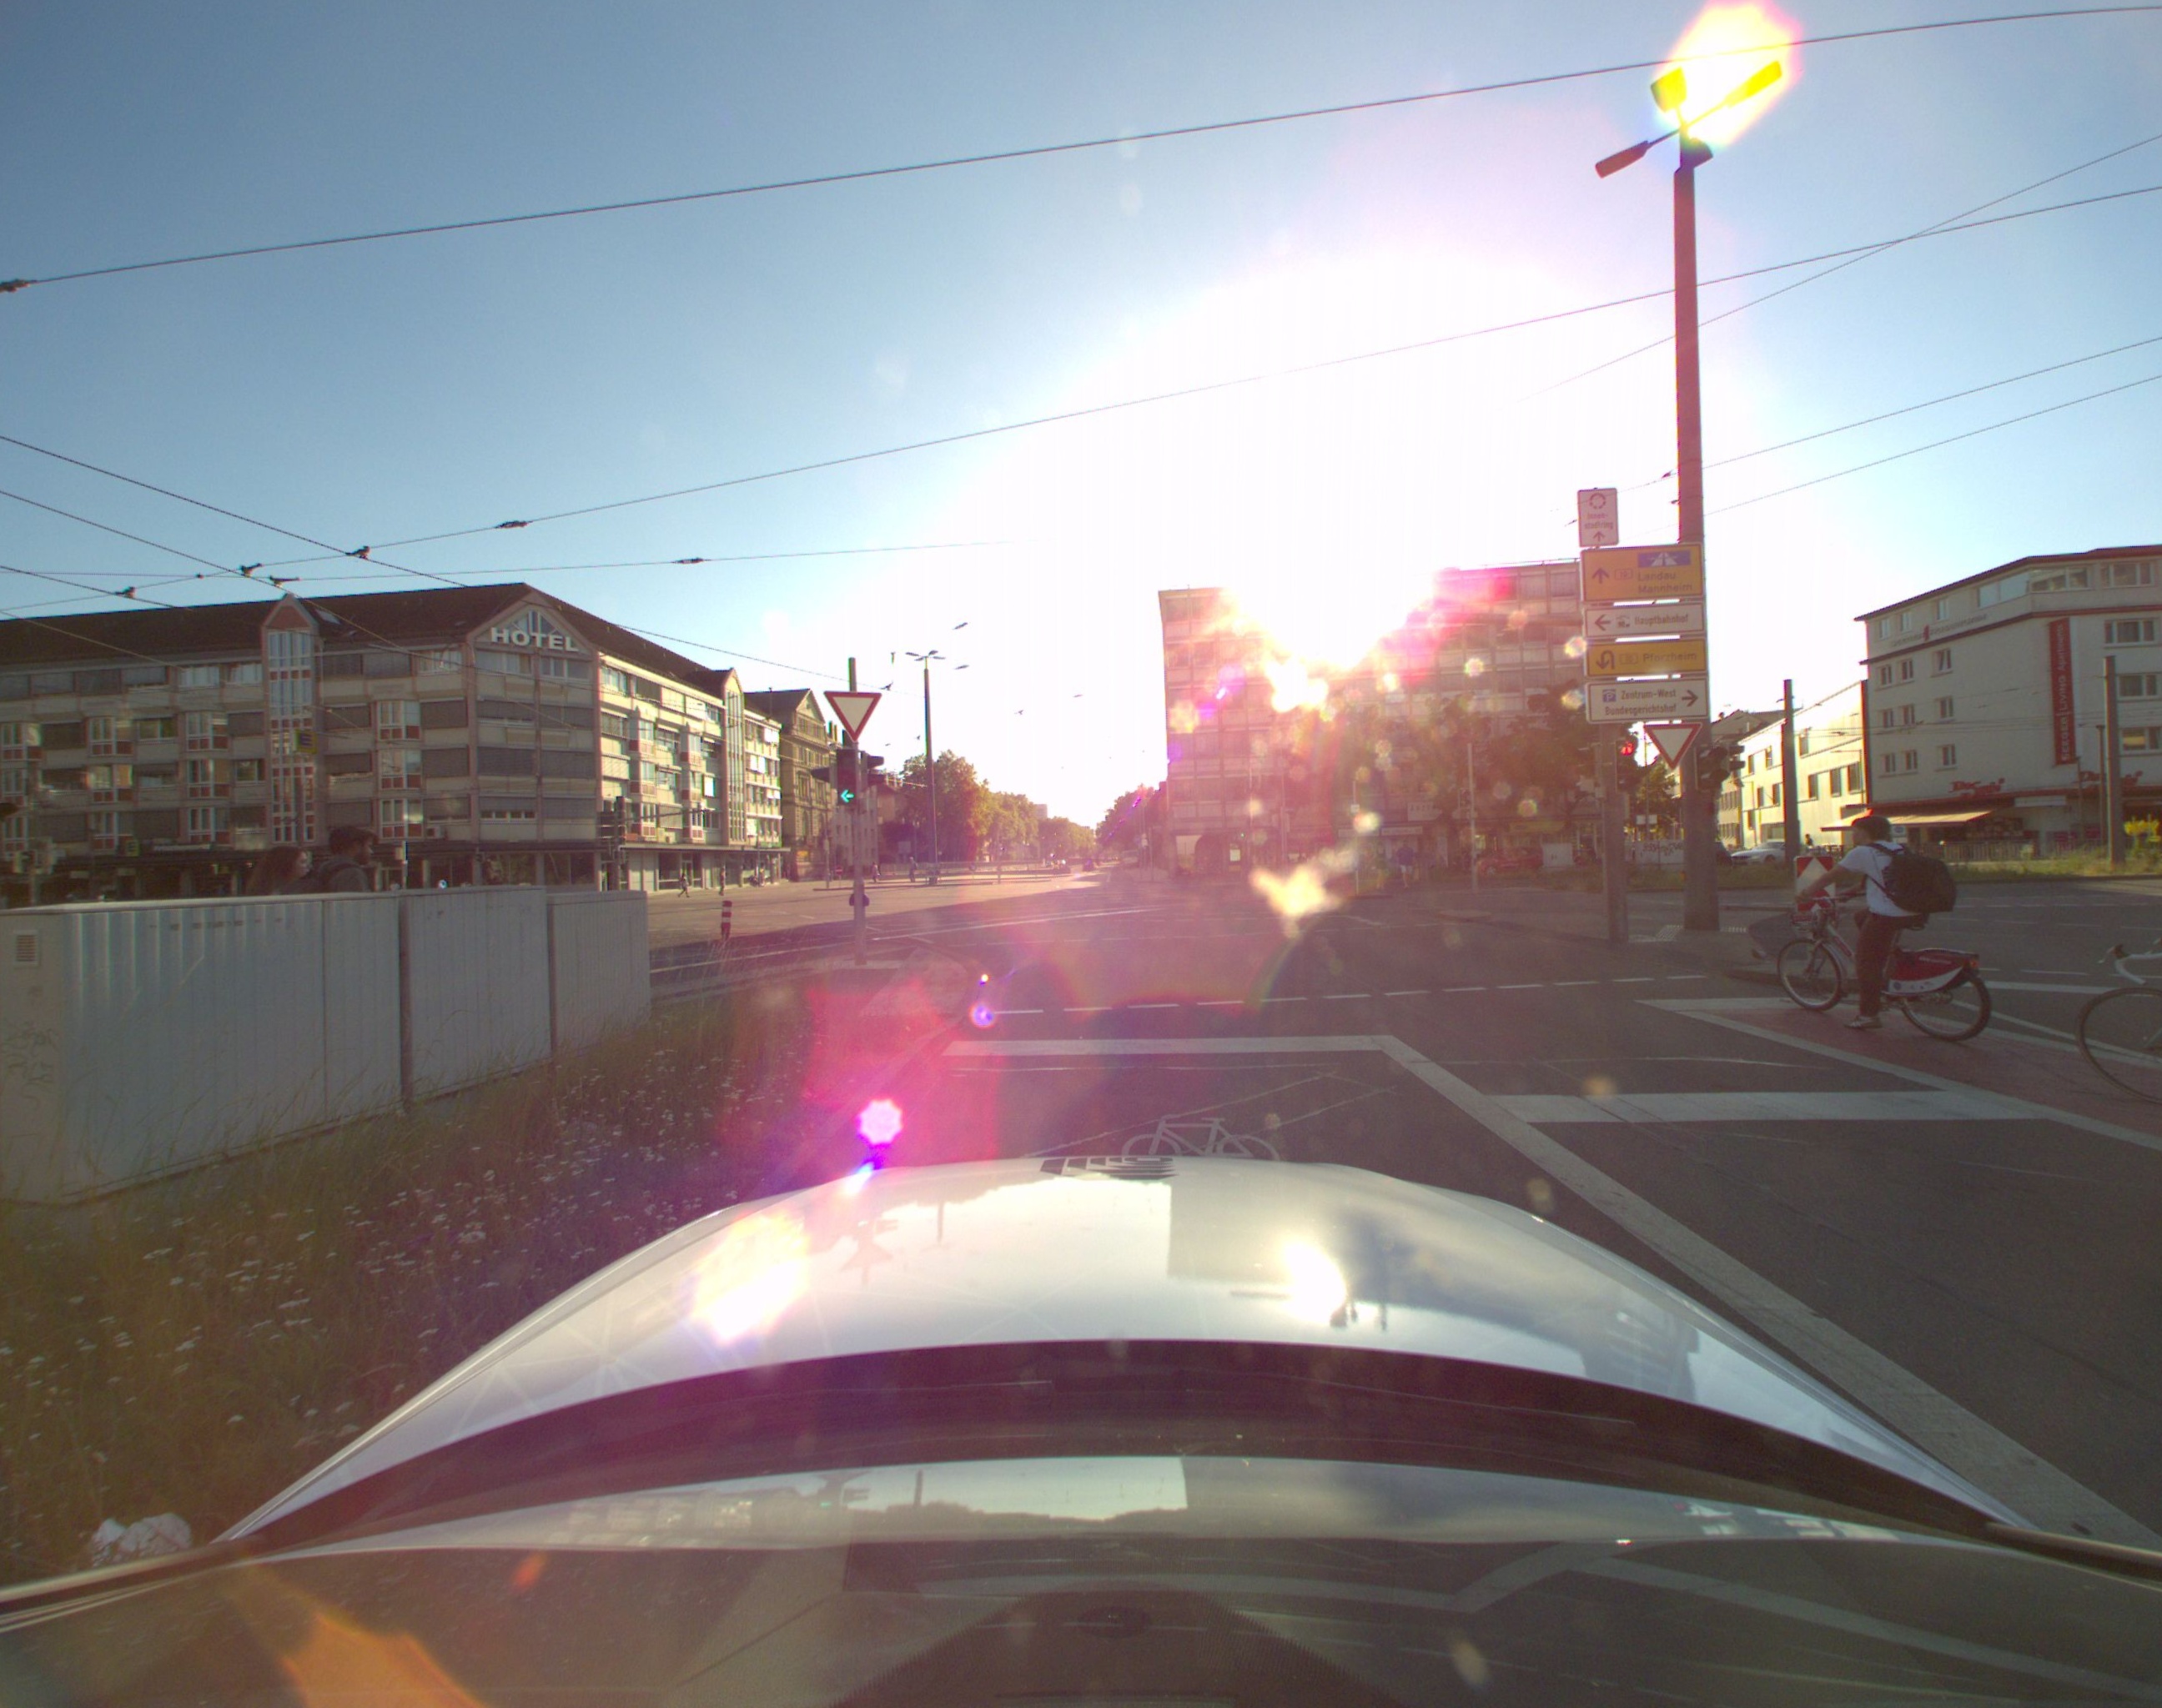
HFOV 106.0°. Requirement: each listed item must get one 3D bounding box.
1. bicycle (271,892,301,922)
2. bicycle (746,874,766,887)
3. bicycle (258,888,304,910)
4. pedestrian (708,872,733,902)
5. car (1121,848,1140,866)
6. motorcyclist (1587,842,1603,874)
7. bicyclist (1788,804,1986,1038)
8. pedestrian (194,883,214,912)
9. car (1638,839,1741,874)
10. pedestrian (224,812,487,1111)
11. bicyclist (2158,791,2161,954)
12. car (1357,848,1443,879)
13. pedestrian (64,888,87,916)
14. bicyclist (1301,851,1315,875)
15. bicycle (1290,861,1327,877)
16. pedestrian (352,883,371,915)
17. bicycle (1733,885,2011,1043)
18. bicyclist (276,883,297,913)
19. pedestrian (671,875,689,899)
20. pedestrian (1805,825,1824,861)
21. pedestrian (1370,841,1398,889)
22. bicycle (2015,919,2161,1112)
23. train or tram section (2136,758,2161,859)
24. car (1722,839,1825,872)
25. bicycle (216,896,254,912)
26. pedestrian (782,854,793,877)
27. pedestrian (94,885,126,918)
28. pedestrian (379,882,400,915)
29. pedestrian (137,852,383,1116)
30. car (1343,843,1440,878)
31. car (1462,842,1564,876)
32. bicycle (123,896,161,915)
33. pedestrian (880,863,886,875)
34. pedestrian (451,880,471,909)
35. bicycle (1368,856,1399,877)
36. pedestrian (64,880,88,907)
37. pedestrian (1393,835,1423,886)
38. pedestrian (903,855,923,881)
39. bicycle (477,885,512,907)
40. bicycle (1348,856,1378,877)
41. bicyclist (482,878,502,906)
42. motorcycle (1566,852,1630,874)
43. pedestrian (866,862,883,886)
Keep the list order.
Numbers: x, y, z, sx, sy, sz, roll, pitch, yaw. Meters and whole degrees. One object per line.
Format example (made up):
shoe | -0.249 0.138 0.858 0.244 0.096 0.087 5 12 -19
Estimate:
bicycle | -41.018 2.710 42.045 0.586 1.366 2.075 -1 1 -30
bicycle | -29.651 2.411 74.397 0.447 1.071 2.102 -1 -1 19
bicycle | -49.459 2.767 50.334 2.312 1.227 0.731 -2 -1 7
pedestrian | -23.629 2.145 53.457 1.191 1.883 0.856 0 4 -3
car | 6.318 0.386 103.956 2.275 2.172 4.838 0 -1 4
motorcyclist | 24.826 0.187 39.350 0.458 1.509 0.536 0 -1 7
bicyclist | 6.588 0.511 6.721 0.540 1.768 1.059 0 -1 -3
pedestrian | -56.225 2.786 52.209 0.598 1.852 0.613 -1 -1 12
car | 29.395 0.135 39.353 3.991 1.618 1.836 0 -1 -13
pedestrian | -4.768 0.638 5.433 0.780 1.800 0.903 0 5 10
bicyclist | 6.164 0.526 4.025 0.612 1.746 0.791 0 -1 -3
car | 17.313 0.515 44.344 4.046 1.618 1.847 0 -1 6
pedestrian | -64.761 3.071 52.437 0.671 1.778 0.825 -1 -1 32
bicyclist | 13.394 0.531 48.054 0.677 1.424 0.671 0 -1 1
bicycle | 13.433 0.893 48.052 2.017 0.940 0.671 0 -1 0
pedestrian | -39.427 2.438 44.631 0.625 1.694 0.859 0 -1 -30
bicycle | 6.568 0.847 6.917 0.540 1.101 1.807 0 -1 -3
bicyclist | -41.056 2.269 42.101 0.568 1.481 0.731 -1 1 -30
pedestrian | -24.801 2.063 50.404 0.703 1.453 0.855 0 -1 -3
pedestrian | 41.633 -0.635 46.242 0.619 2.014 0.719 -1 -1 27
pedestrian | 10.896 0.383 29.287 0.692 1.682 1.044 0 -1 6
bicycle | 6.189 0.906 4.290 0.540 1.001 1.692 0 -1 -3
train or tram section | 47.451 -1.961 29.292 13.257 3.833 3.719 -2 -1 4
car | 34.540 0.080 40.640 3.988 1.618 1.837 0 -1 -11
bicycle | -52.458 3.111 50.508 2.060 0.917 0.502 -2 -1 7
pedestrian | -31.181 1.253 86.543 0.926 2.398 0.958 0 -1 -9
pedestrian | -50.631 2.479 42.478 0.680 1.660 0.780 0 -1 -4
pedestrian | -38.299 2.434 45.126 0.510 1.764 0.999 0 -1 -18
pedestrian | -5.586 0.812 5.595 0.780 1.640 0.903 -1 -1 14
car | 14.739 0.319 38.842 3.966 1.618 1.847 0 -1 6
car | 20.934 0.251 39.611 3.966 1.618 1.847 0 -1 6
bicycle | -60.180 3.285 52.215 0.481 1.119 1.650 0 -1 2
pedestrian | -27.182 2.085 111.736 0.693 1.695 0.724 0 -1 1
pedestrian | -36.480 2.396 47.916 0.717 1.662 0.629 -2 -1 -22
bicycle | 18.186 0.746 49.086 0.748 1.143 2.637 0 2 -4
pedestrian | -62.746 2.461 50.833 0.545 1.645 0.755 -1 1 12
pedestrian | 11.778 0.231 29.334 0.692 1.793 1.043 0 -1 4
pedestrian | -11.225 0.930 54.448 1.191 1.731 0.855 0 -1 -3
bicycle | -34.826 2.476 48.362 0.635 1.145 1.773 0 2 6
bicycle | 16.992 0.746 49.068 0.748 1.143 2.637 0 2 -4
bicyclist | -34.838 2.255 48.203 0.636 1.596 0.659 0 2 5
motorcycle | 24.957 0.439 39.327 2.648 1.001 0.536 0 -1 6
pedestrian | -13.226 1.283 52.164 0.858 1.465 0.680 0 -6 -27
